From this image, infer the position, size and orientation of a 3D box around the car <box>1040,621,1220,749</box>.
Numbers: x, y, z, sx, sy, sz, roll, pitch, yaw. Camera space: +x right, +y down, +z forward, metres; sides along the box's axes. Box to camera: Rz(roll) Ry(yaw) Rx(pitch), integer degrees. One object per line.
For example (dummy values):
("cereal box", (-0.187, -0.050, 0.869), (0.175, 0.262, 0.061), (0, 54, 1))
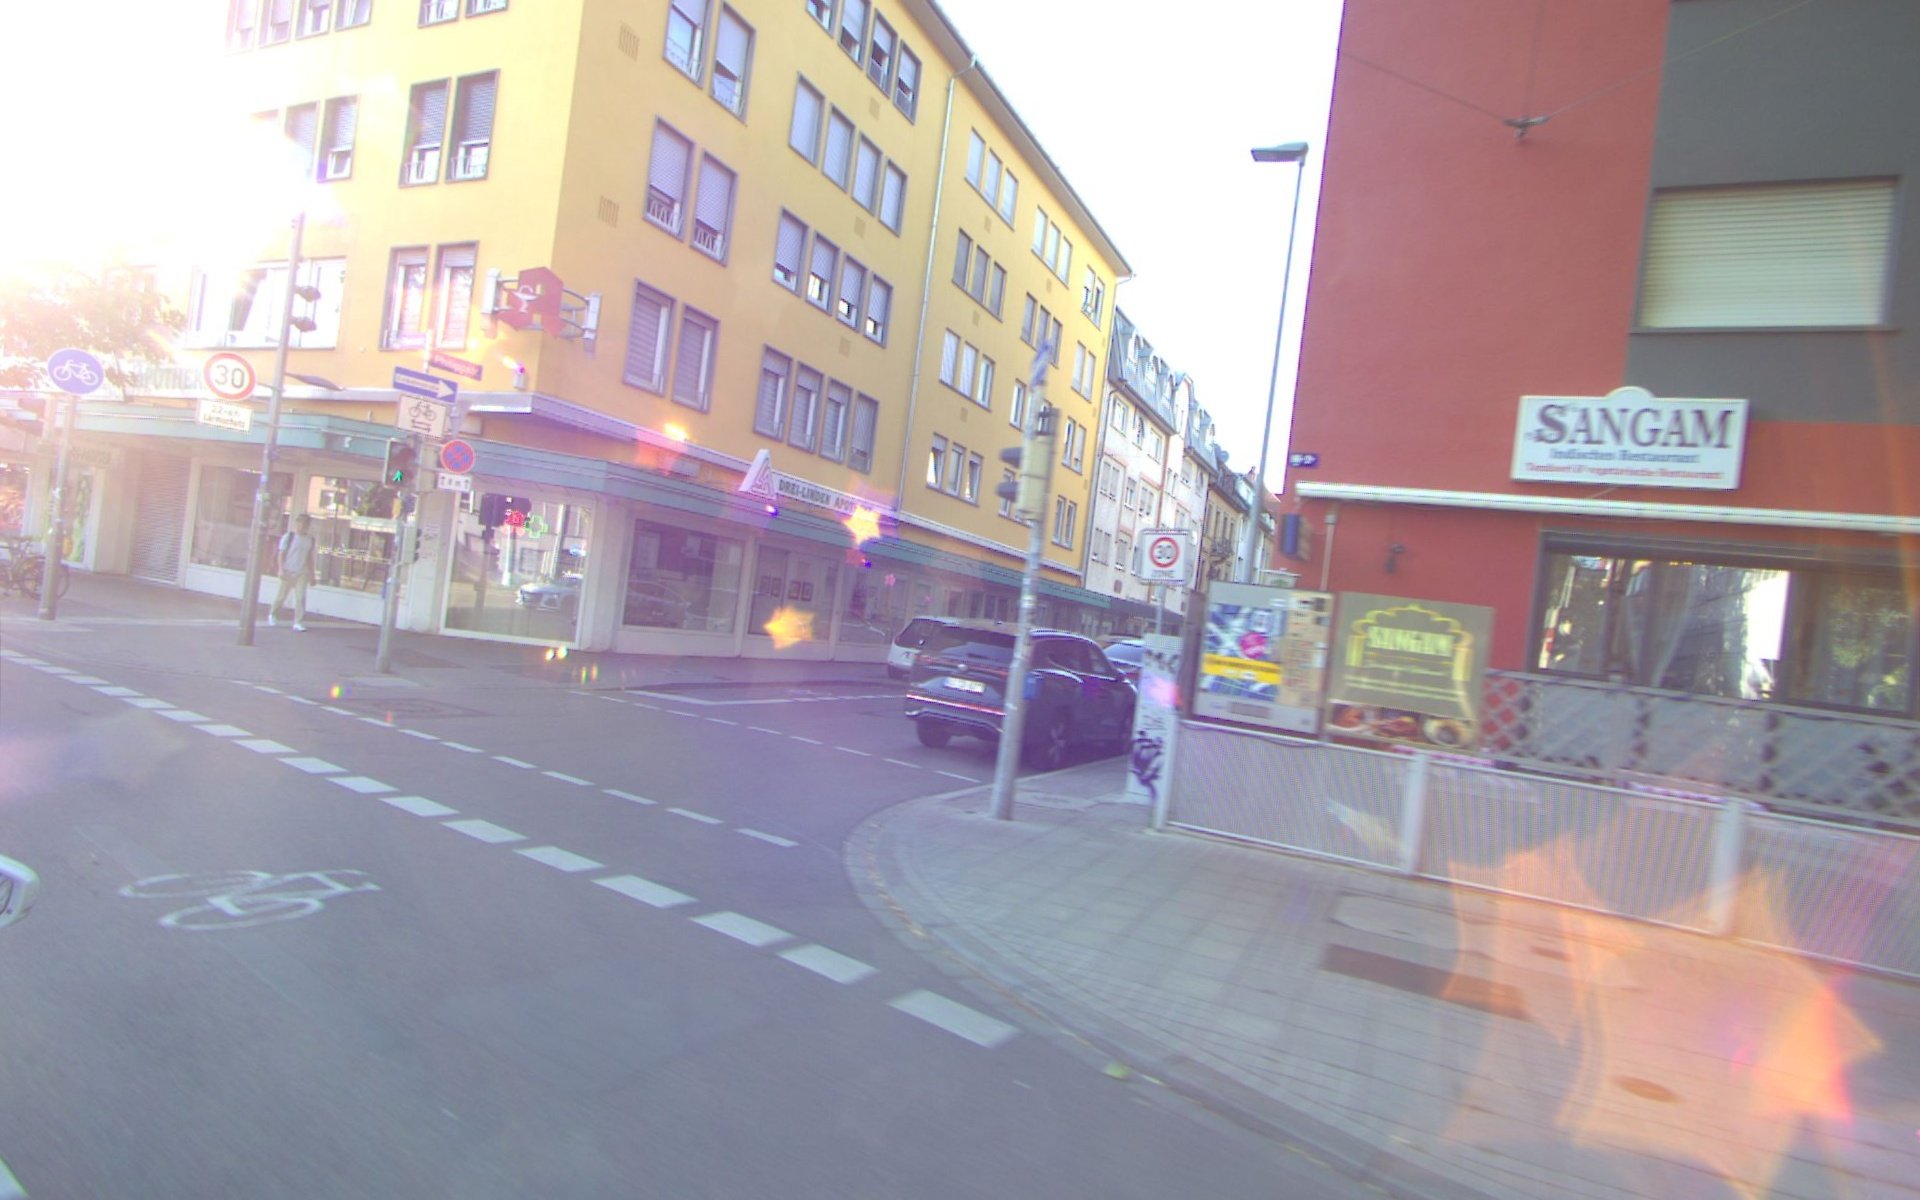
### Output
("car", (3.154, 1.474, 17.771), (1.741, 1.761, 4.614), (7, -1, 26))

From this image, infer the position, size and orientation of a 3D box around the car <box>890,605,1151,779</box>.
("car", (1.002, 1.164, 13.214), (1.741, 1.706, 4.353), (7, -1, 26))

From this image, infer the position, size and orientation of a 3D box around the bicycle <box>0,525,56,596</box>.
("bicycle", (-14.887, -0.651, 15.360), (0.446, 1.020, 1.487), (7, -1, 23))

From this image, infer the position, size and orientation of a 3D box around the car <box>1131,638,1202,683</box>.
("car", (8.603, 2.538, 41.725), (1.741, 1.502, 3.774), (9, 0, 27))

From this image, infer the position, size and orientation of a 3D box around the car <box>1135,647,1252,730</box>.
("car", (5.402, 1.983, 22.948), (1.741, 1.503, 3.812), (7, -1, 24))

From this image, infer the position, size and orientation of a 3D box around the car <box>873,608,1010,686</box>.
("car", (-0.357, 1.139, 23.501), (1.741, 1.501, 3.319), (7, -1, 26))

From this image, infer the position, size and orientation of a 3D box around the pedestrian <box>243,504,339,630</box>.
("pedestrian", (-10.339, -0.501, 15.551), (0.879, 1.801, 0.745), (6, 0, 26))

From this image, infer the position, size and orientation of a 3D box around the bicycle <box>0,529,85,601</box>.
("bicycle", (-14.365, -0.547, 15.064), (0.531, 1.021, 1.802), (7, 1, 23))
